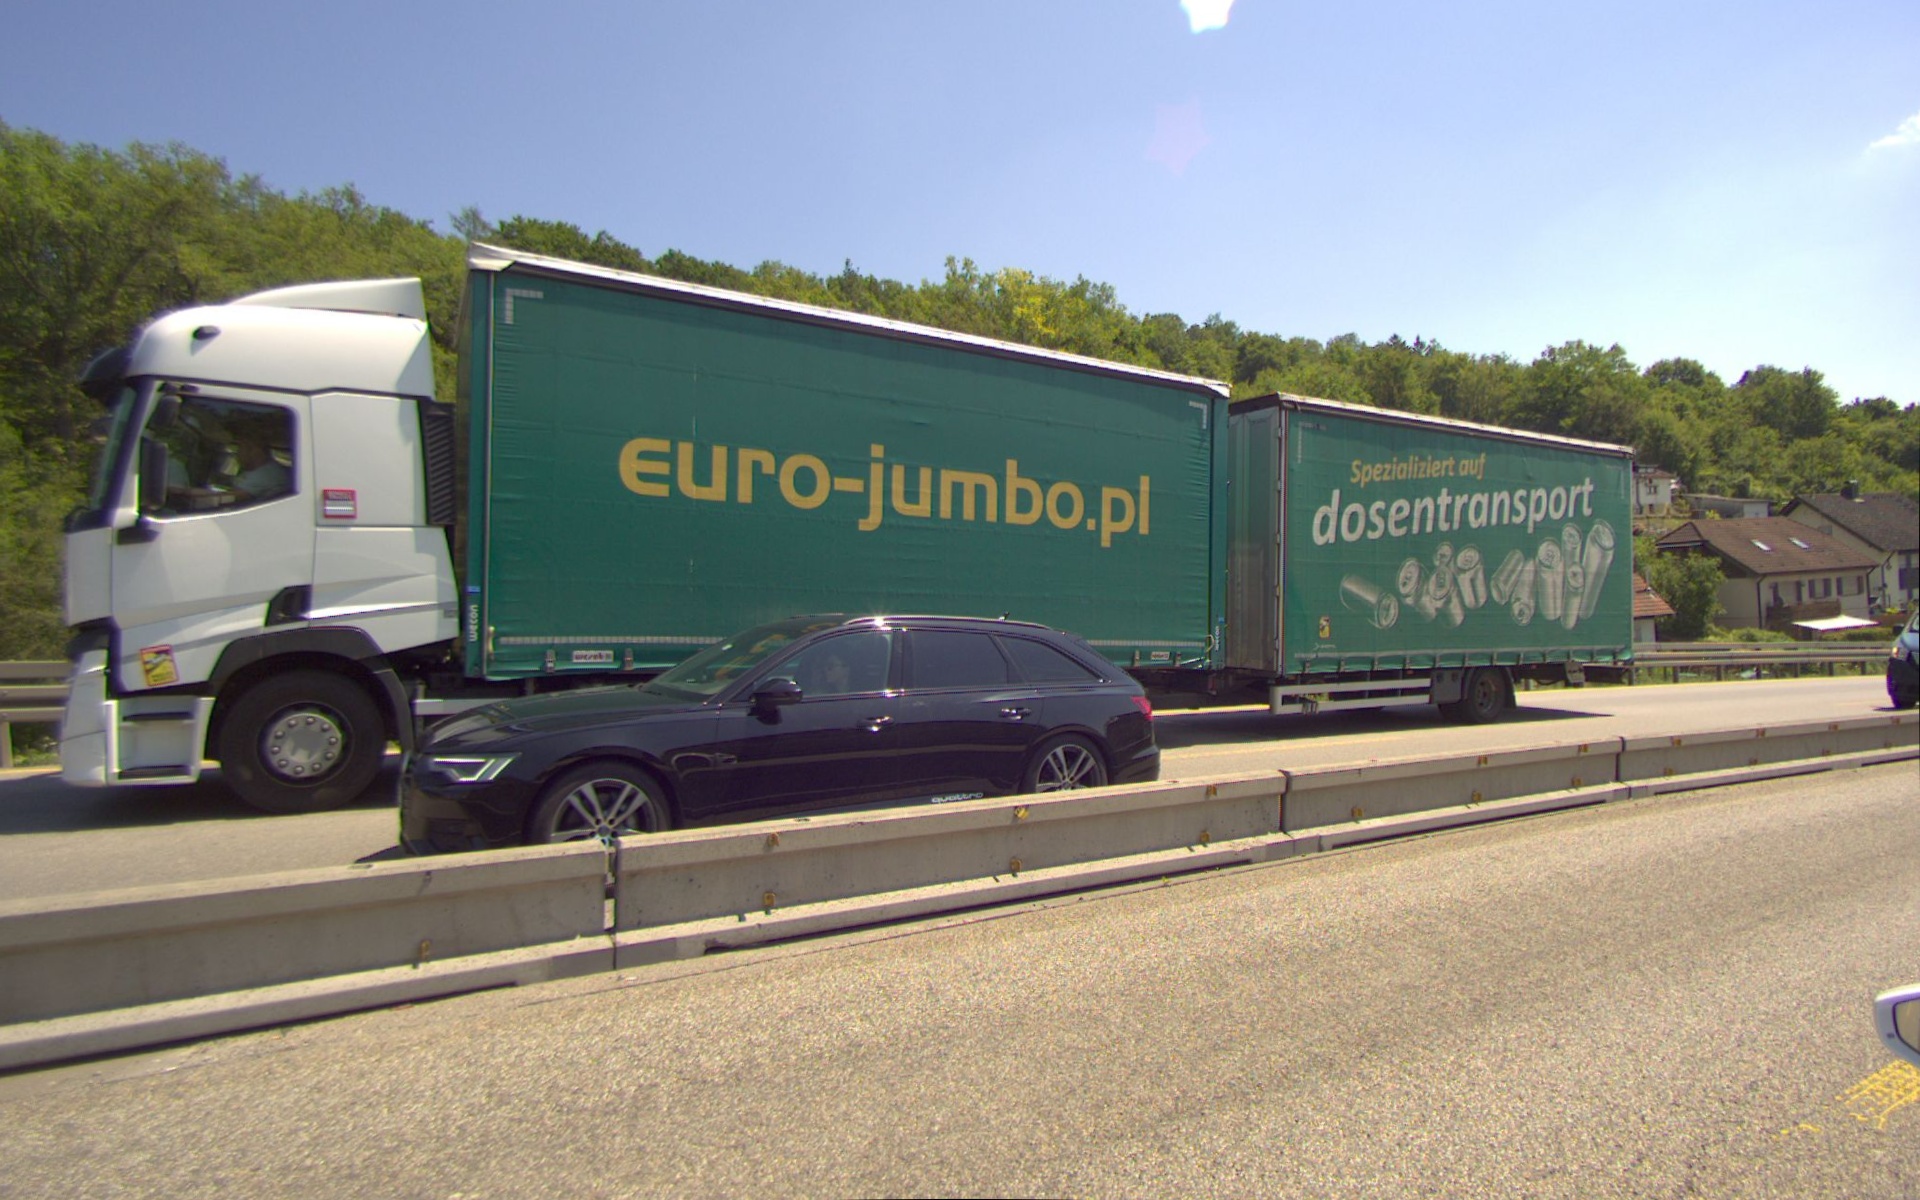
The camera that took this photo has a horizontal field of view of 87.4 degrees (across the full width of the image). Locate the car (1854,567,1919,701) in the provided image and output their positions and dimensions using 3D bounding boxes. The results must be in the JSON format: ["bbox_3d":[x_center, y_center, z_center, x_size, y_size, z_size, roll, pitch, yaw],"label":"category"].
[{"bbox_3d":[17.892,0.641,17.444,4.772,2.202,1.986,2,-1,-28],"label":"car"}]

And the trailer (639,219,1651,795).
[{"bbox_3d":[3.584,-0.515,13.009,14.407,4.703,2.821,2,-1,-30],"label":"trailer"}]

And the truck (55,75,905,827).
[{"bbox_3d":[-3.717,-0.828,8.873,5.720,4.640,2.833,2,-1,-30],"label":"truck"}]

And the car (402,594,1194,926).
[{"bbox_3d":[-0.895,0.796,6.518,4.702,1.482,1.892,2,-1,-31],"label":"car"}]
